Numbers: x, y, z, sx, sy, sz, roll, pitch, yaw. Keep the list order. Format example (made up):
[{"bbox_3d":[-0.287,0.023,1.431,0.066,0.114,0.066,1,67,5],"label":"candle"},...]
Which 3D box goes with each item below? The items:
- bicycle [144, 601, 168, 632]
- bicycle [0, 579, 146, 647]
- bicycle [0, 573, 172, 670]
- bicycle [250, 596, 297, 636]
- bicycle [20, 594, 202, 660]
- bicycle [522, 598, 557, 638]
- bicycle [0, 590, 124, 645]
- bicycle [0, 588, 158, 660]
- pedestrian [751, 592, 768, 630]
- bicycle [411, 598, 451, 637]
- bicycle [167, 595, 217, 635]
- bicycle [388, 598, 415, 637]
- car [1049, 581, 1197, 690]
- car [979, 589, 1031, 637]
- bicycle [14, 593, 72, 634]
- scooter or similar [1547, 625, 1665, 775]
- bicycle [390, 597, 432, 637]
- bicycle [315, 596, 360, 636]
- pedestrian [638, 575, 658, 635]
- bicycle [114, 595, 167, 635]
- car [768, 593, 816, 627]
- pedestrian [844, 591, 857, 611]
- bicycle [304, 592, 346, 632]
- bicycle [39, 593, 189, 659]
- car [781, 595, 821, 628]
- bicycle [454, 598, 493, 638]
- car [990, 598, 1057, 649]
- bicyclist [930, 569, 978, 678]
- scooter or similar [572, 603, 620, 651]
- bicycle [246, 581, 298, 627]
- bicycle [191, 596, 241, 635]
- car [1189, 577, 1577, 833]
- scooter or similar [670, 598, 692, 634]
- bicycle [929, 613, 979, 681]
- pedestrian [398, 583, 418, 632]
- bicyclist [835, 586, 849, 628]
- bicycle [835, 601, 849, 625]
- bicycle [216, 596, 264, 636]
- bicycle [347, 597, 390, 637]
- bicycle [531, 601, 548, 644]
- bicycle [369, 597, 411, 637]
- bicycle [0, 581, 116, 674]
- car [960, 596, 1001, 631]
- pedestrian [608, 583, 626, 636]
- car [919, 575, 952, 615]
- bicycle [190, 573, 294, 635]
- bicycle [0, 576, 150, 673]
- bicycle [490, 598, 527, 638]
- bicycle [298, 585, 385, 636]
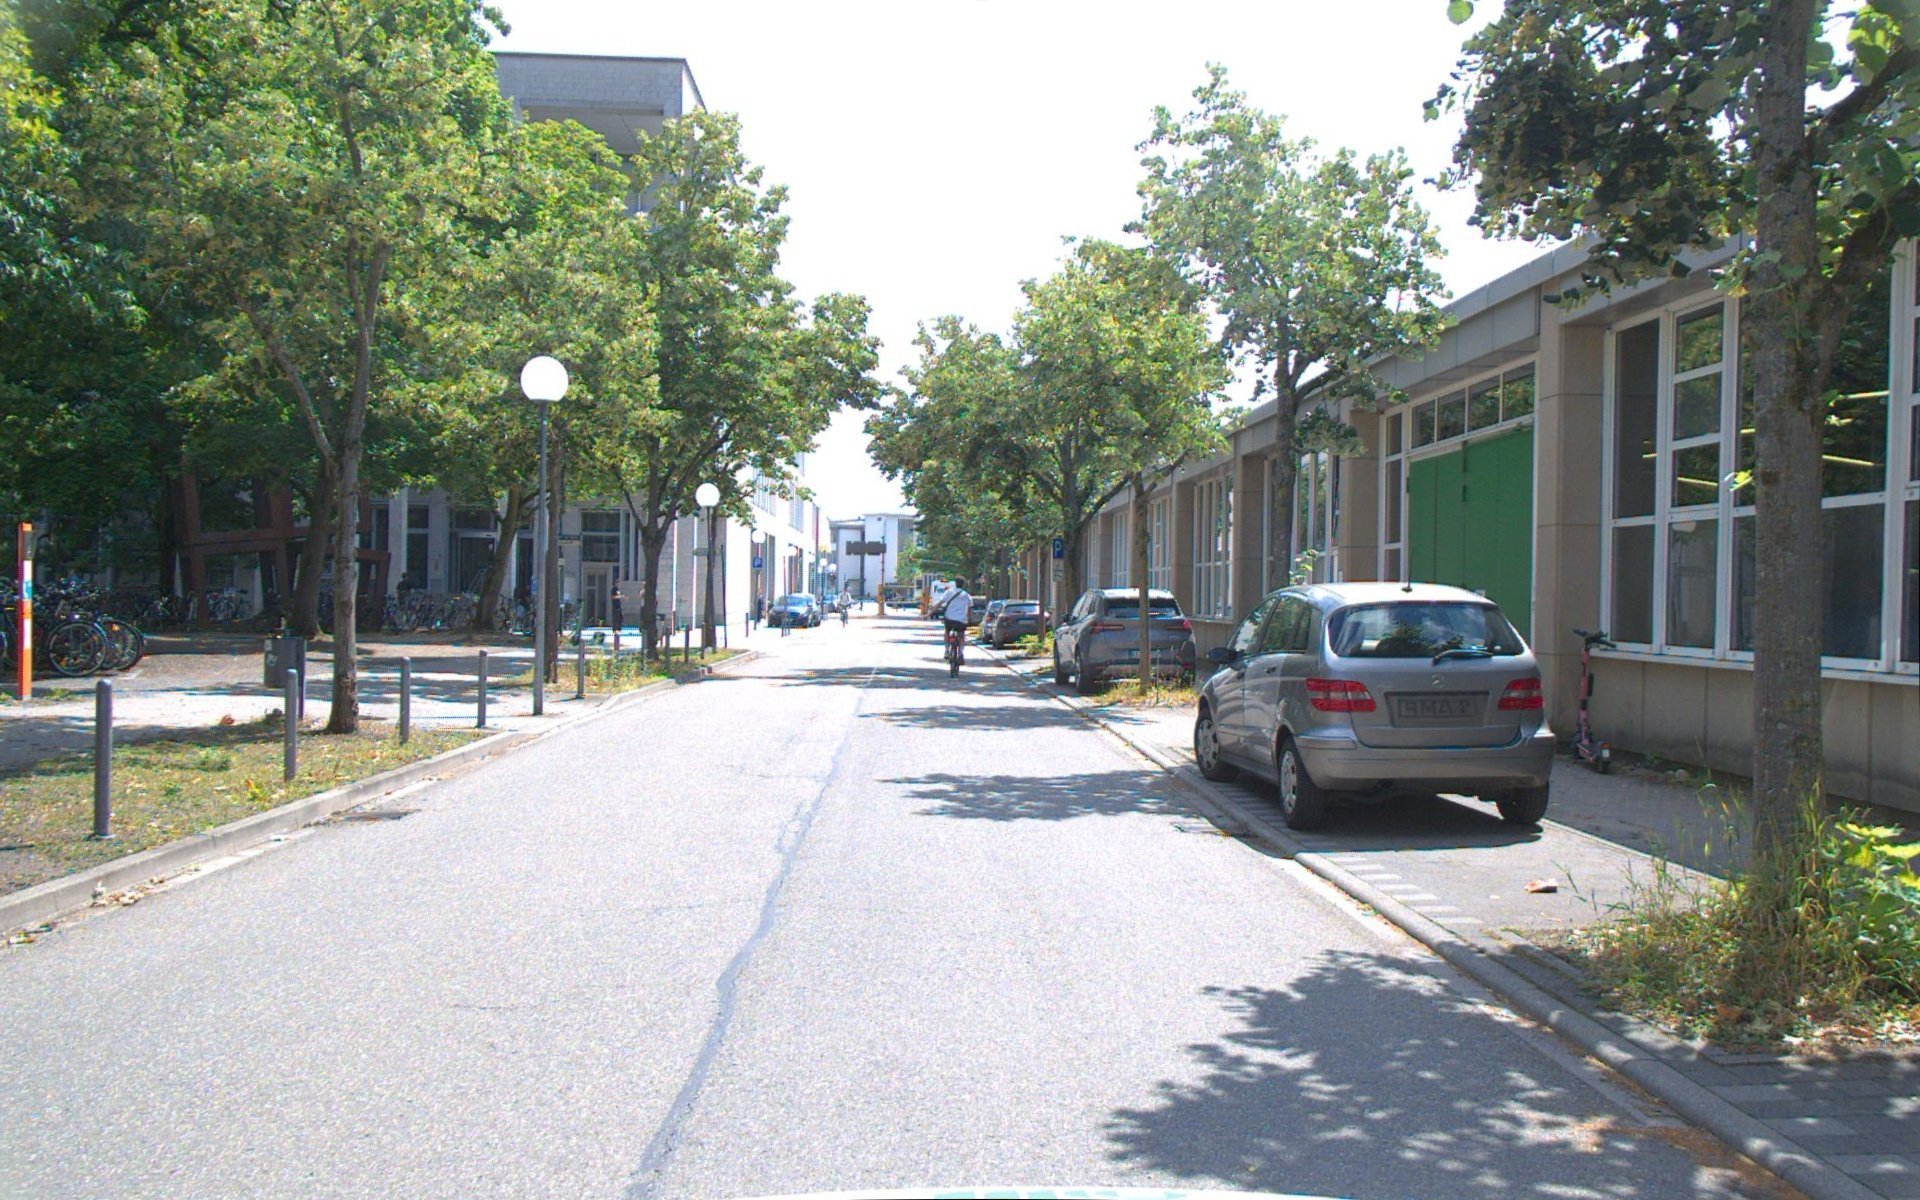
[{"bbox_3d":[-21.753,0.438,44.746,0.319,0.776,1.541,2,0,-35],"label":"bicycle"},{"bbox_3d":[-17.199,0.249,31.529,2.887,1.242,0.868,2,0,-45],"label":"bicycle"},{"bbox_3d":[-12.414,0.305,23.523,2.023,1.256,0.804,3,-1,-20],"label":"bicycle"},{"bbox_3d":[-19.797,0.450,47.736,0.541,1.105,1.972,3,0,-2],"label":"bicycle"},{"bbox_3d":[-15.048,0.484,29.381,2.731,1.105,0.868,2,0,-45],"label":"bicycle"},{"bbox_3d":[-12.179,0.520,47.951,0.541,1.105,1.972,3,0,-2],"label":"bicycle"},{"bbox_3d":[-17.920,0.346,32.299,2.713,1.020,0.868,2,0,-45],"label":"bicycle"},{"bbox_3d":[-13.203,0.369,24.720,2.126,1.026,0.670,2,0,-32],"label":"bicycle"},{"bbox_3d":[-9.321,0.513,76.898,0.638,1.731,0.886,2,0,-12],"label":"pedestrian"},{"bbox_3d":[-15.332,0.495,47.981,0.541,1.105,1.972,3,0,-2],"label":"bicycle"},{"bbox_3d":[-22.100,0.428,47.638,0.541,1.105,1.972,3,0,-2],"label":"bicycle"},{"bbox_3d":[-14.653,0.451,43.403,0.467,0.982,1.651,1,0,-13],"label":"bicycle"},{"bbox_3d":[2.671,0.583,28.070,1.786,1.693,4.580,-1,-1,-4],"label":"car"},{"bbox_3d":[1.529,0.426,57.203,1.584,1.565,3.778,1,0,-2],"label":"car"},{"bbox_3d":[-26.054,0.376,47.028,0.541,1.105,1.972,3,0,-2],"label":"bicycle"},{"bbox_3d":[5.711,0.853,14.690,0.407,1.238,1.492,0,0,-2],"label":"scooter or similar"},{"bbox_3d":[-15.883,0.488,47.894,0.541,1.105,1.972,3,0,-2],"label":"bicycle"},{"bbox_3d":[-17.940,0.464,47.690,0.541,1.105,1.972,3,0,-2],"label":"bicycle"},{"bbox_3d":[-10.508,0.169,55.666,0.408,1.975,0.656,2,0,-31],"label":"pedestrian"},{"bbox_3d":[-23.556,0.415,47.595,0.541,1.105,1.972,3,0,-2],"label":"bicycle"},{"bbox_3d":[-7.546,0.466,74.719,1.730,1.452,4.234,1,-1,0],"label":"car"},{"bbox_3d":[-12.317,0.104,185.436,1.389,2.144,0.994,2,0,-5],"label":"pedestrian"},{"bbox_3d":[-17.364,0.319,45.271,0.466,1.050,1.849,1,0,-1],"label":"bicycle"},{"bbox_3d":[-13.902,0.435,27.212,2.127,1.026,0.670,2,0,-33],"label":"bicycle"},{"bbox_3d":[-7.670,0.541,79.914,1.598,1.511,4.176,1,0,-1],"label":"car"},{"bbox_3d":[-14.217,0.517,48.363,0.541,1.105,1.972,3,0,-2],"label":"bicycle"},{"bbox_3d":[1.928,0.701,51.560,1.745,1.502,4.460,-1,0,-2],"label":"car"},{"bbox_3d":[-0.121,0.450,31.996,0.856,2.049,0.849,1,0,-2],"label":"bicyclist"},{"bbox_3d":[-9.310,0.695,42.313,0.333,1.196,1.324,1,0,33],"label":"scooter or similar"},{"bbox_3d":[-19.639,0.109,47.275,0.514,1.275,2.381,0,0,-1],"label":"bicycle"},{"bbox_3d":[-21.484,0.439,47.797,0.541,1.105,1.972,3,0,-2],"label":"bicycle"},{"bbox_3d":[2.965,0.657,12.523,1.670,1.601,4.137,0,0,-3],"label":"car"},{"bbox_3d":[-9.794,0.541,58.017,0.445,1.245,1.549,1,0,2],"label":"scooter or similar"},{"bbox_3d":[-0.137,0.877,31.908,0.864,1.220,2.748,1,0,-1],"label":"bicycle"},{"bbox_3d":[-19.376,0.251,58.026,0.623,1.690,0.690,1,0,-19],"label":"pedestrian"},{"bbox_3d":[-5.799,0.329,81.334,0.697,2.049,1.018,0,0,-4],"label":"bicyclist"},{"bbox_3d":[-5.797,0.633,81.461,0.671,1.149,1.887,1,0,-4],"label":"bicycle"},{"bbox_3d":[-20.709,0.439,47.606,0.541,1.105,1.972,3,0,-2],"label":"bicycle"},{"bbox_3d":[-17.121,0.479,47.945,0.541,1.105,1.972,3,0,-2],"label":"bicycle"},{"bbox_3d":[-10.602,0.559,41.733,0.375,1.043,1.808,1,0,-14],"label":"bicycle"},{"bbox_3d":[-16.478,0.481,47.843,0.541,1.105,1.972,3,0,-2],"label":"bicycle"},{"bbox_3d":[-11.808,0.343,21.136,1.747,1.151,0.456,2,0,-20],"label":"bicycle"},{"bbox_3d":[0.939,0.641,79.507,1.821,1.601,3.999,0,0,-1],"label":"car"},{"bbox_3d":[-11.684,0.317,56.268,0.437,1.806,0.446,1,0,-32],"label":"pedestrian"},{"bbox_3d":[-1.651,-0.346,111.030,2.042,2.584,4.313,2,0,-2],"label":"car"},{"bbox_3d":[-17.752,0.114,40.913,2.264,1.475,0.599,1,0,-35],"label":"bicycle"},{"bbox_3d":[-12.291,0.327,22.643,2.023,1.256,0.804,2,0,-20],"label":"bicycle"},{"bbox_3d":[-13.117,0.517,48.108,0.541,1.105,1.972,3,0,-2],"label":"bicycle"},{"bbox_3d":[-15.798,0.269,42.278,1.997,1.276,0.580,0,0,-35],"label":"bicycle"}]
